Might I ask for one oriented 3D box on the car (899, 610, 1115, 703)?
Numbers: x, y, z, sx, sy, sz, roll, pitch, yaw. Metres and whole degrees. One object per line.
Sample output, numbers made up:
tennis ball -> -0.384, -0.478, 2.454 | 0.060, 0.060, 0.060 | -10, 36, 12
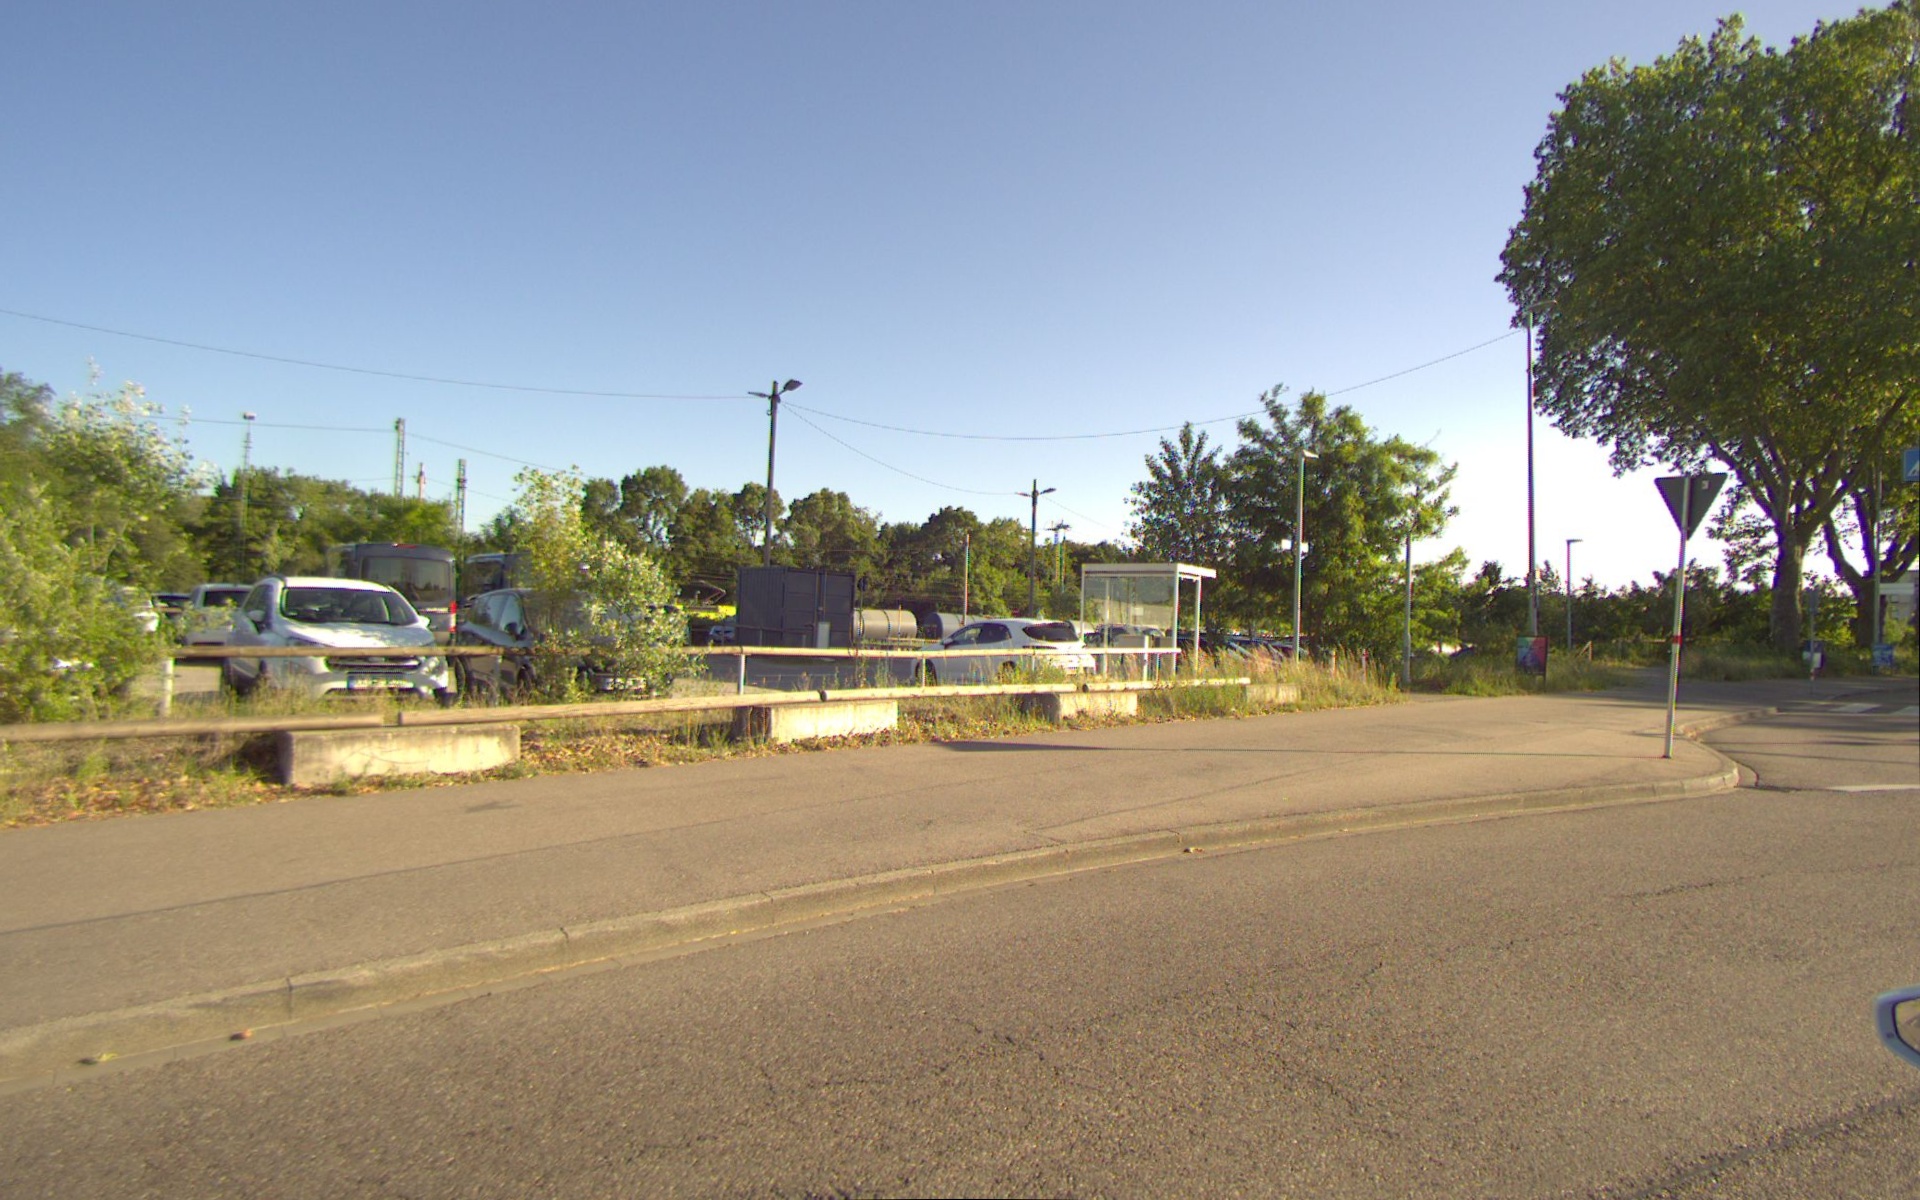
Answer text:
car -> 0.817, 1.029, 19.765 | 1.876, 1.531, 4.224 | 2, -1, -40

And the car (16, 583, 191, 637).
car -> -25.475, 0.314, 30.038 | 3.834, 1.465, 1.977 | 3, -1, -40

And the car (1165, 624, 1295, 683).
car -> 8.982, 1.731, 33.418 | 3.781, 1.687, 2.011 | 2, 0, 29

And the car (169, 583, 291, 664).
car -> -15.242, 0.446, 20.910 | 1.819, 1.528, 3.708 | 2, -1, -39

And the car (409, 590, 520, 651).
car -> -13.874, 0.536, 27.999 | 1.969, 1.519, 4.157 | 2, -1, -38

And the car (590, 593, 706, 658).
car -> -9.844, 0.751, 31.516 | 1.971, 1.832, 4.153 | 2, 0, -40

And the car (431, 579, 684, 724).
car -> -5.713, 0.605, 13.993 | 1.860, 1.676, 4.091 | 2, 0, -44

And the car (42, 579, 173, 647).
car -> -19.736, 0.274, 23.419 | 2.083, 1.438, 4.157 | 2, -1, -38

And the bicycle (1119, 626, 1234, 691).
bicycle -> 5.893, 1.583, 27.422 | 2.899, 1.637, 0.906 | 2, 0, -4

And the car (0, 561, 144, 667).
car -> -16.367, 0.197, 18.660 | 1.813, 1.602, 3.954 | 2, 2, -39

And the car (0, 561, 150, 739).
car -> -9.475, 0.419, 10.204 | 1.840, 1.535, 3.956 | 2, -1, -38

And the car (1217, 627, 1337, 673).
car -> 11.849, 1.846, 37.595 | 3.932, 1.479, 1.725 | 2, -1, 34

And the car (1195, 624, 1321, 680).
car -> 10.448, 1.791, 35.274 | 3.927, 1.705, 1.838 | 2, 0, 29

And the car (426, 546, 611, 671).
car -> -10.354, 0.185, 23.287 | 2.383, 2.550, 5.446 | 2, -1, -41

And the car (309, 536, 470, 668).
car -> -12.244, 0.046, 21.432 | 2.112, 2.500, 4.428 | 2, -1, -41

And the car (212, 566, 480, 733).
car -> -7.383, 0.497, 11.902 | 1.874, 1.632, 4.005 | 3, -1, -44

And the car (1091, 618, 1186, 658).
car -> 9.451, 1.994, 53.500 | 2.176, 1.863, 4.981 | 2, -1, -32

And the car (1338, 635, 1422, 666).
car -> 28.378, 3.392, 68.056 | 1.981, 1.788, 4.910 | 2, -1, -36
